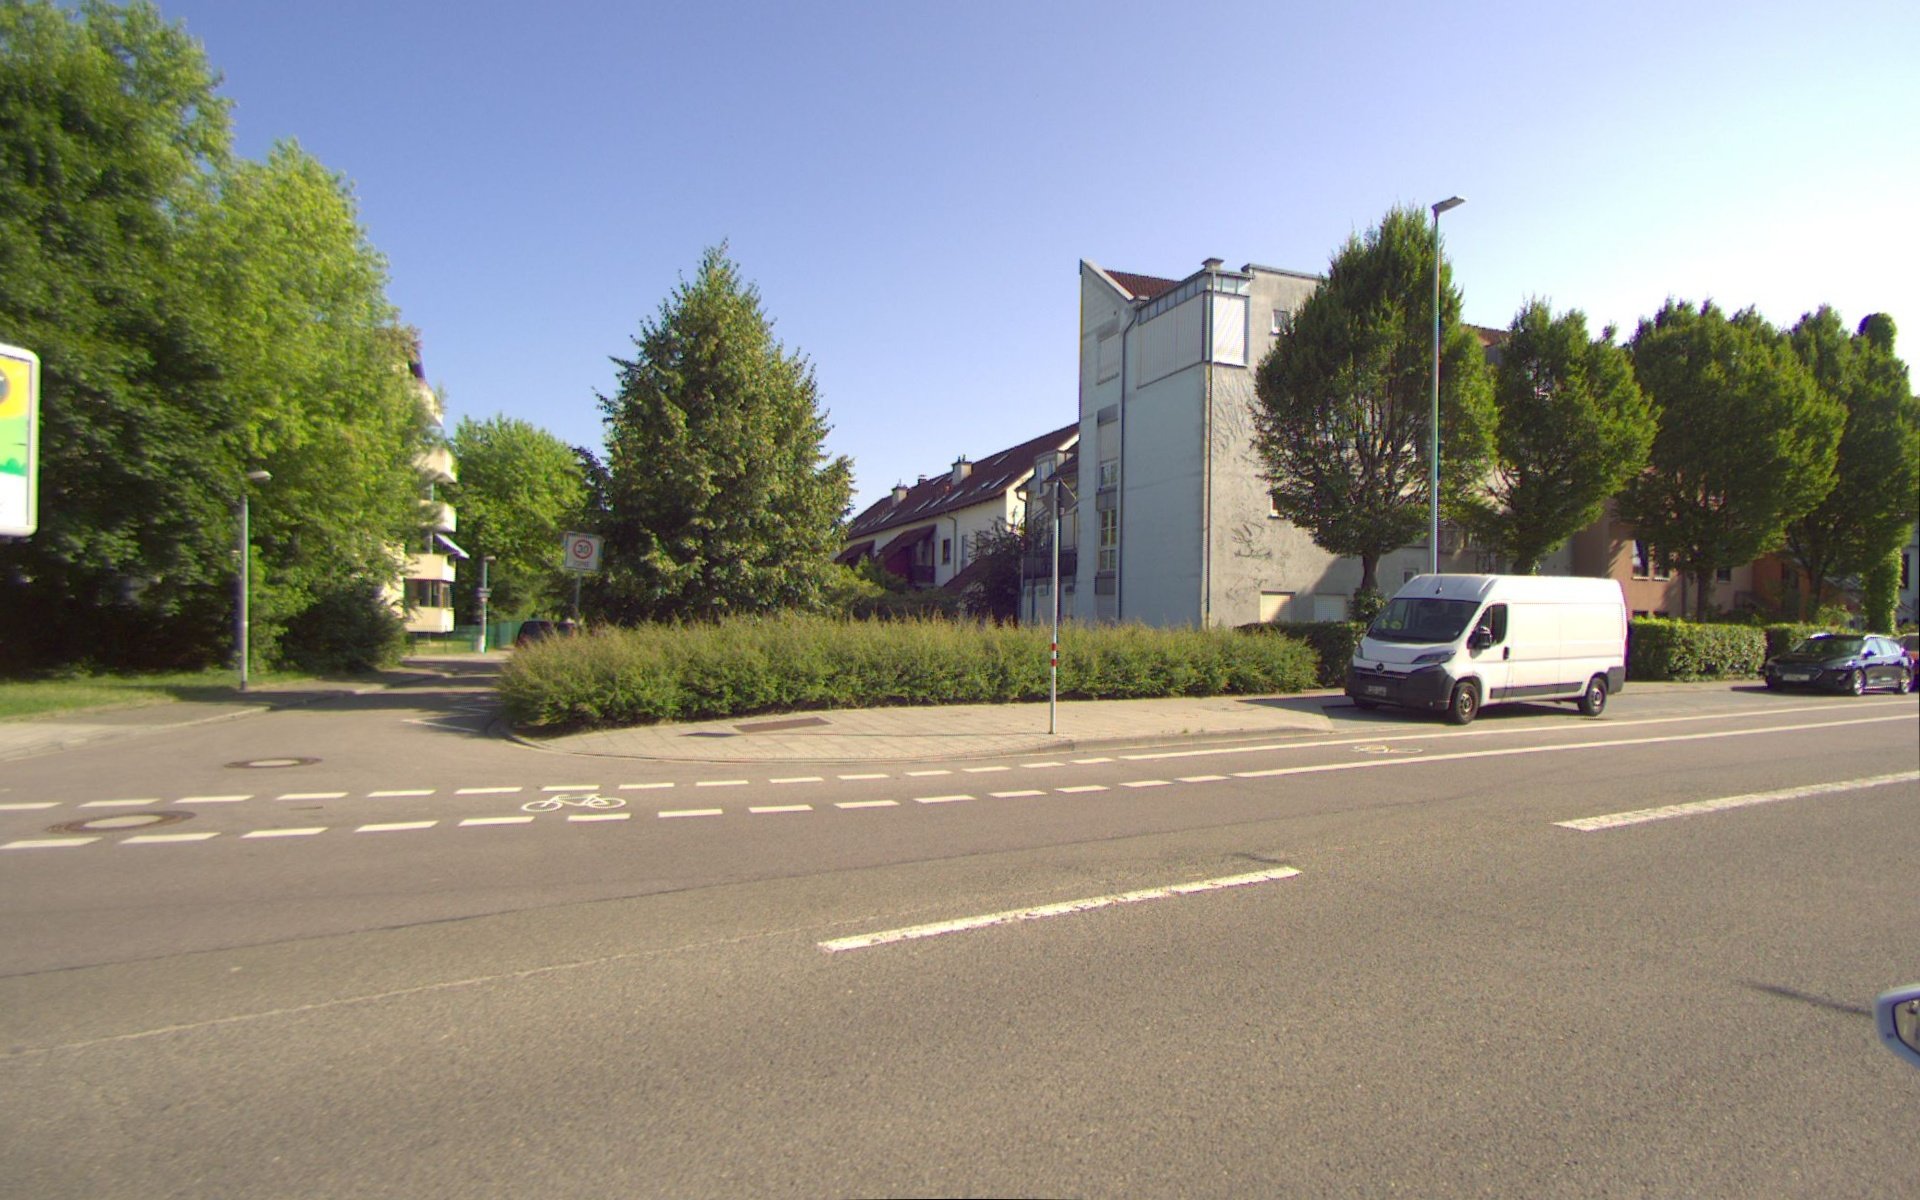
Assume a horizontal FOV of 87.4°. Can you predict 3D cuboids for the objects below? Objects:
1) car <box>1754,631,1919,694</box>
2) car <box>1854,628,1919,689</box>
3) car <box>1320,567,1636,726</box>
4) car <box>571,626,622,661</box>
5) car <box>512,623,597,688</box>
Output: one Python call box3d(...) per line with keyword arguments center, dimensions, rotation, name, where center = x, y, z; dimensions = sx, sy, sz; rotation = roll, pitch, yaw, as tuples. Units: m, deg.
box3d(center=(22.202, 1.543, 25.380), dimensions=(4.654, 1.443, 1.645), rotation=(1, -1, -28), name="car")
box3d(center=(26.936, 1.633, 27.947), dimensions=(4.110, 1.594, 1.755), rotation=(2, -1, -28), name="car")
box3d(center=(9.509, 0.763, 18.253), dimensions=(6.112, 2.490, 2.141), rotation=(1, 1, -31), name="car")
box3d(center=(-15.682, 1.840, 43.457), dimensions=(1.677, 1.409, 3.988), rotation=(1, -1, -15), name="car")
box3d(center=(-12.001, 1.590, 29.946), dimensions=(1.743, 1.719, 3.988), rotation=(3, -2, -15), name="car")
